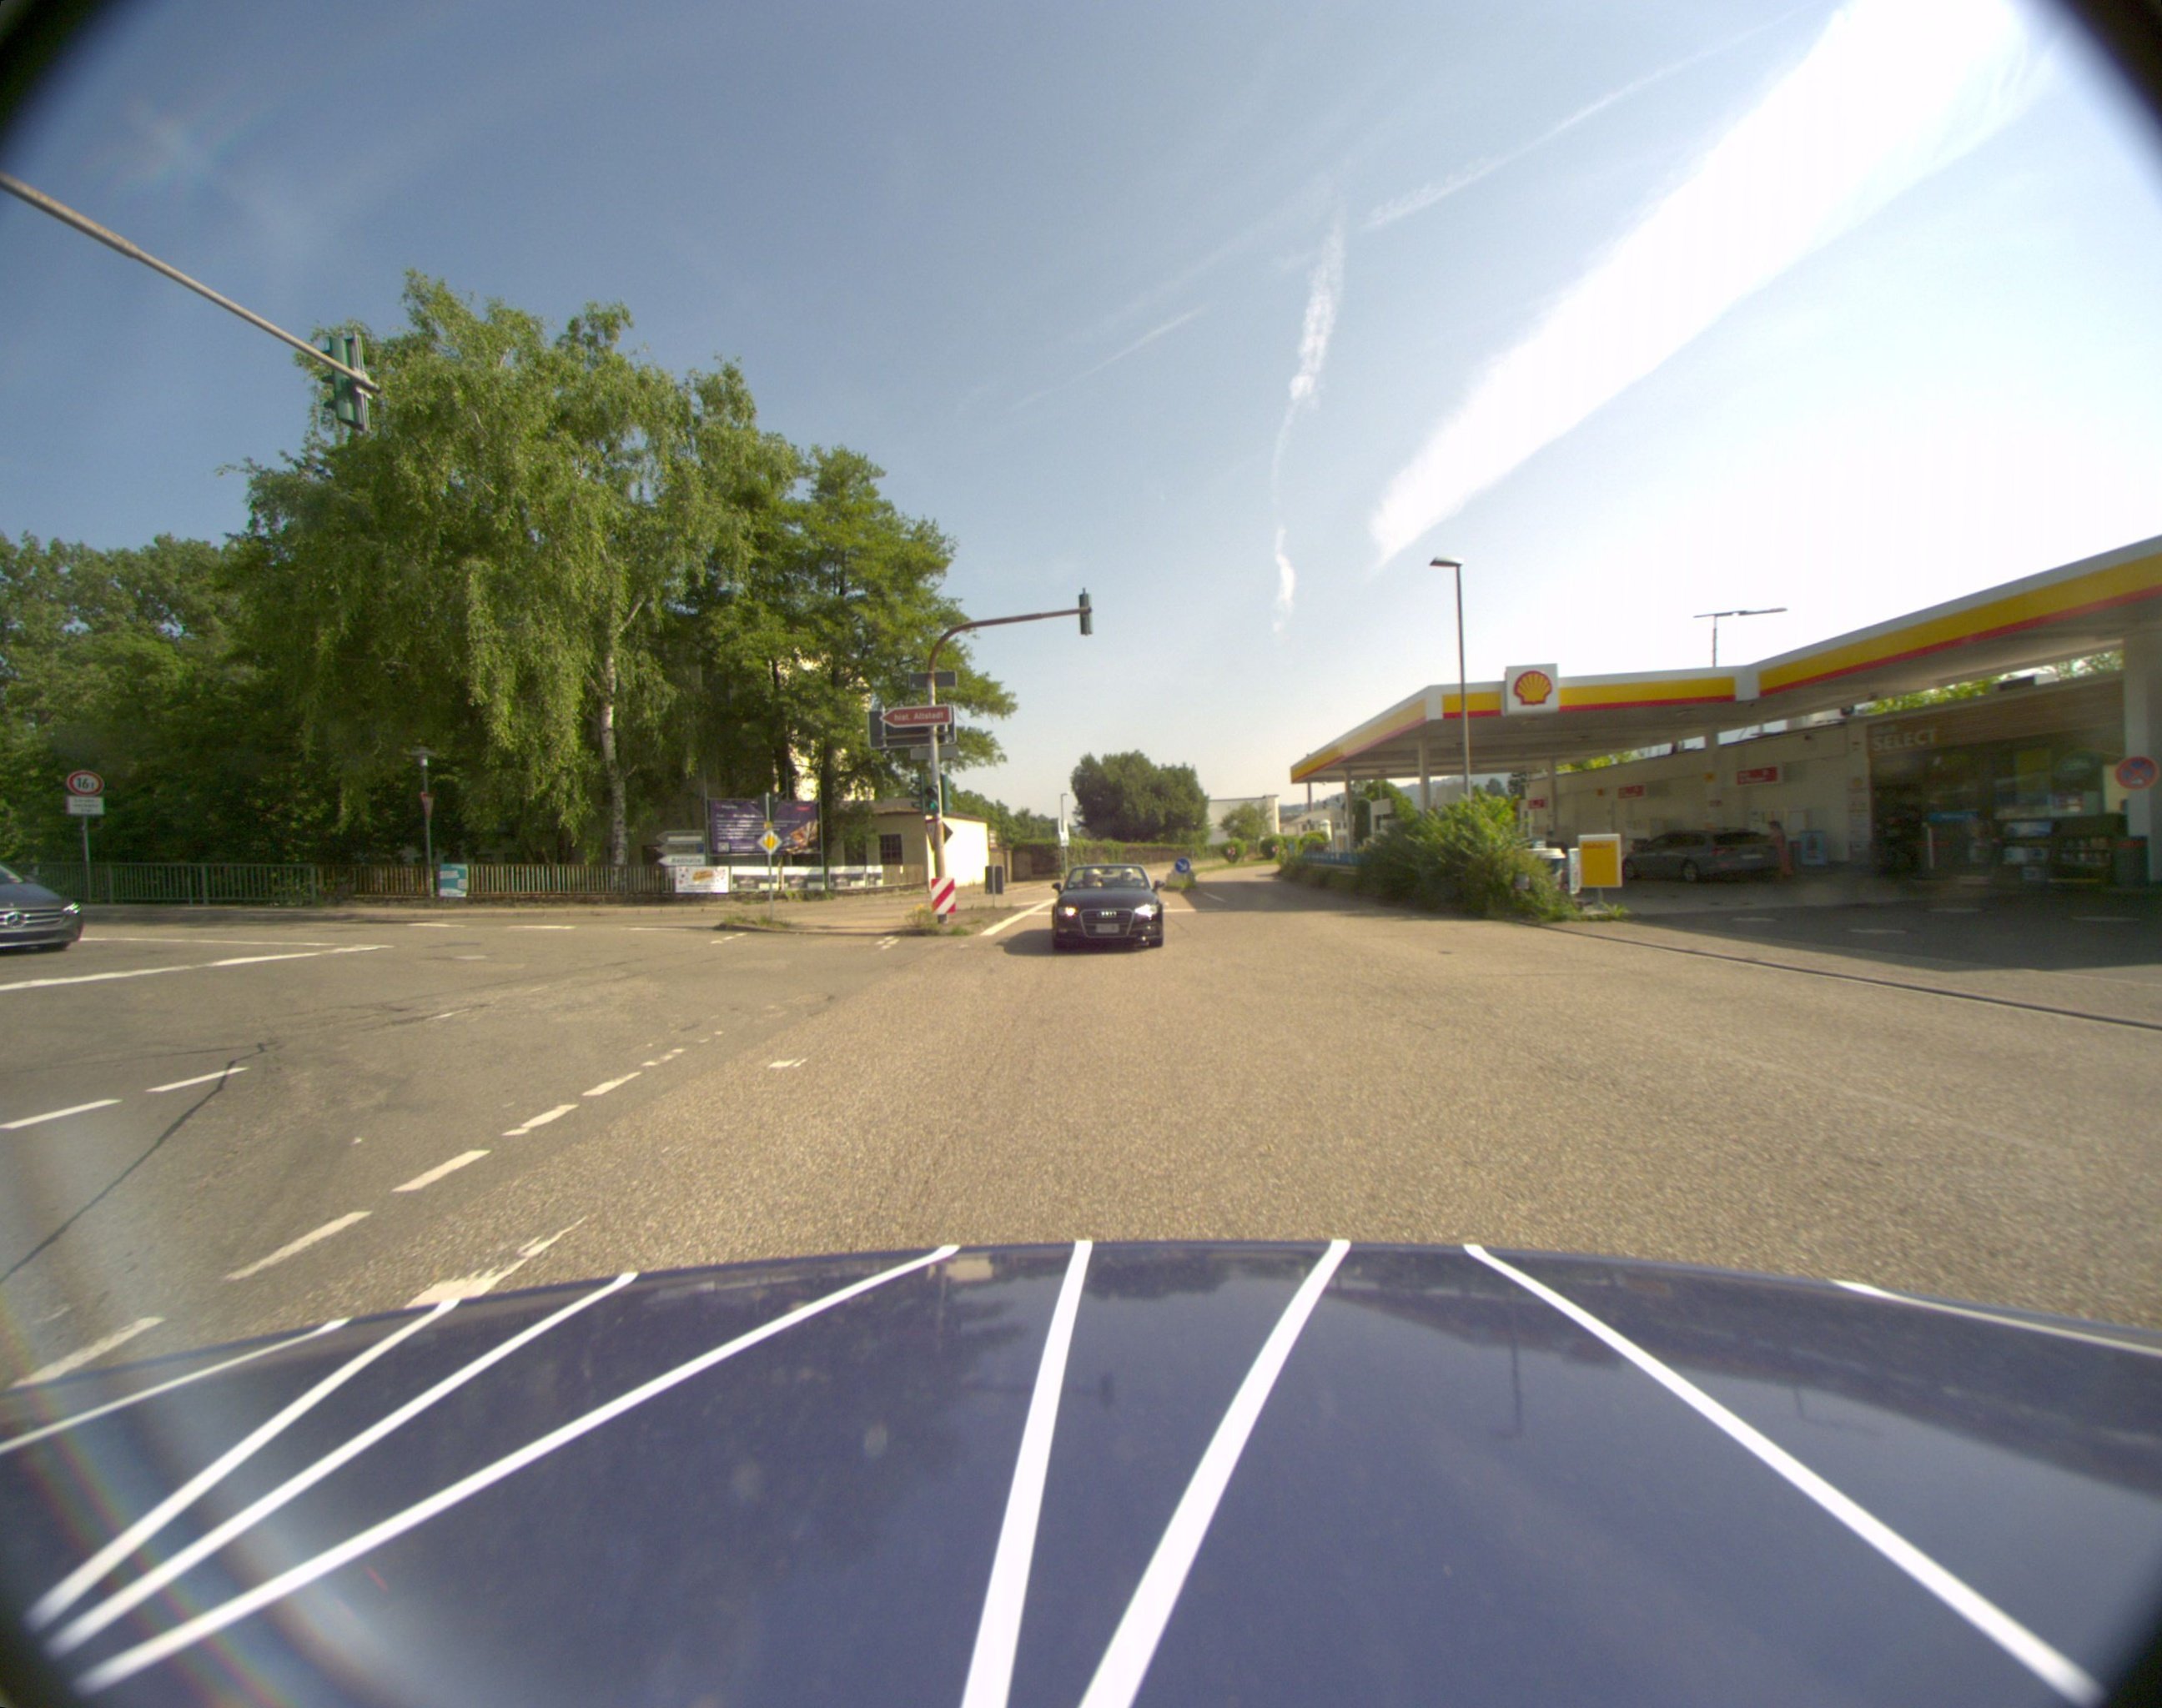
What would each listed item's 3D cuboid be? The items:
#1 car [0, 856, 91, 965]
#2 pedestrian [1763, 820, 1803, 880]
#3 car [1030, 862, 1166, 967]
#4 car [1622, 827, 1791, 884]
[{"bbox_3d":[-17.060,0.796,11.013,4.077,1.509,1.669,0,1,12],"label":"car"},{"bbox_3d":[18.527,-0.111,20.070,0.559,1.538,0.535,-2,1,5],"label":"pedestrian"},{"bbox_3d":[0.316,0.874,12.757,1.868,1.323,4.232,-2,1,2],"label":"car"},{"bbox_3d":[17.529,0.001,21.585,1.631,1.403,4.228,-2,1,6],"label":"car"}]
